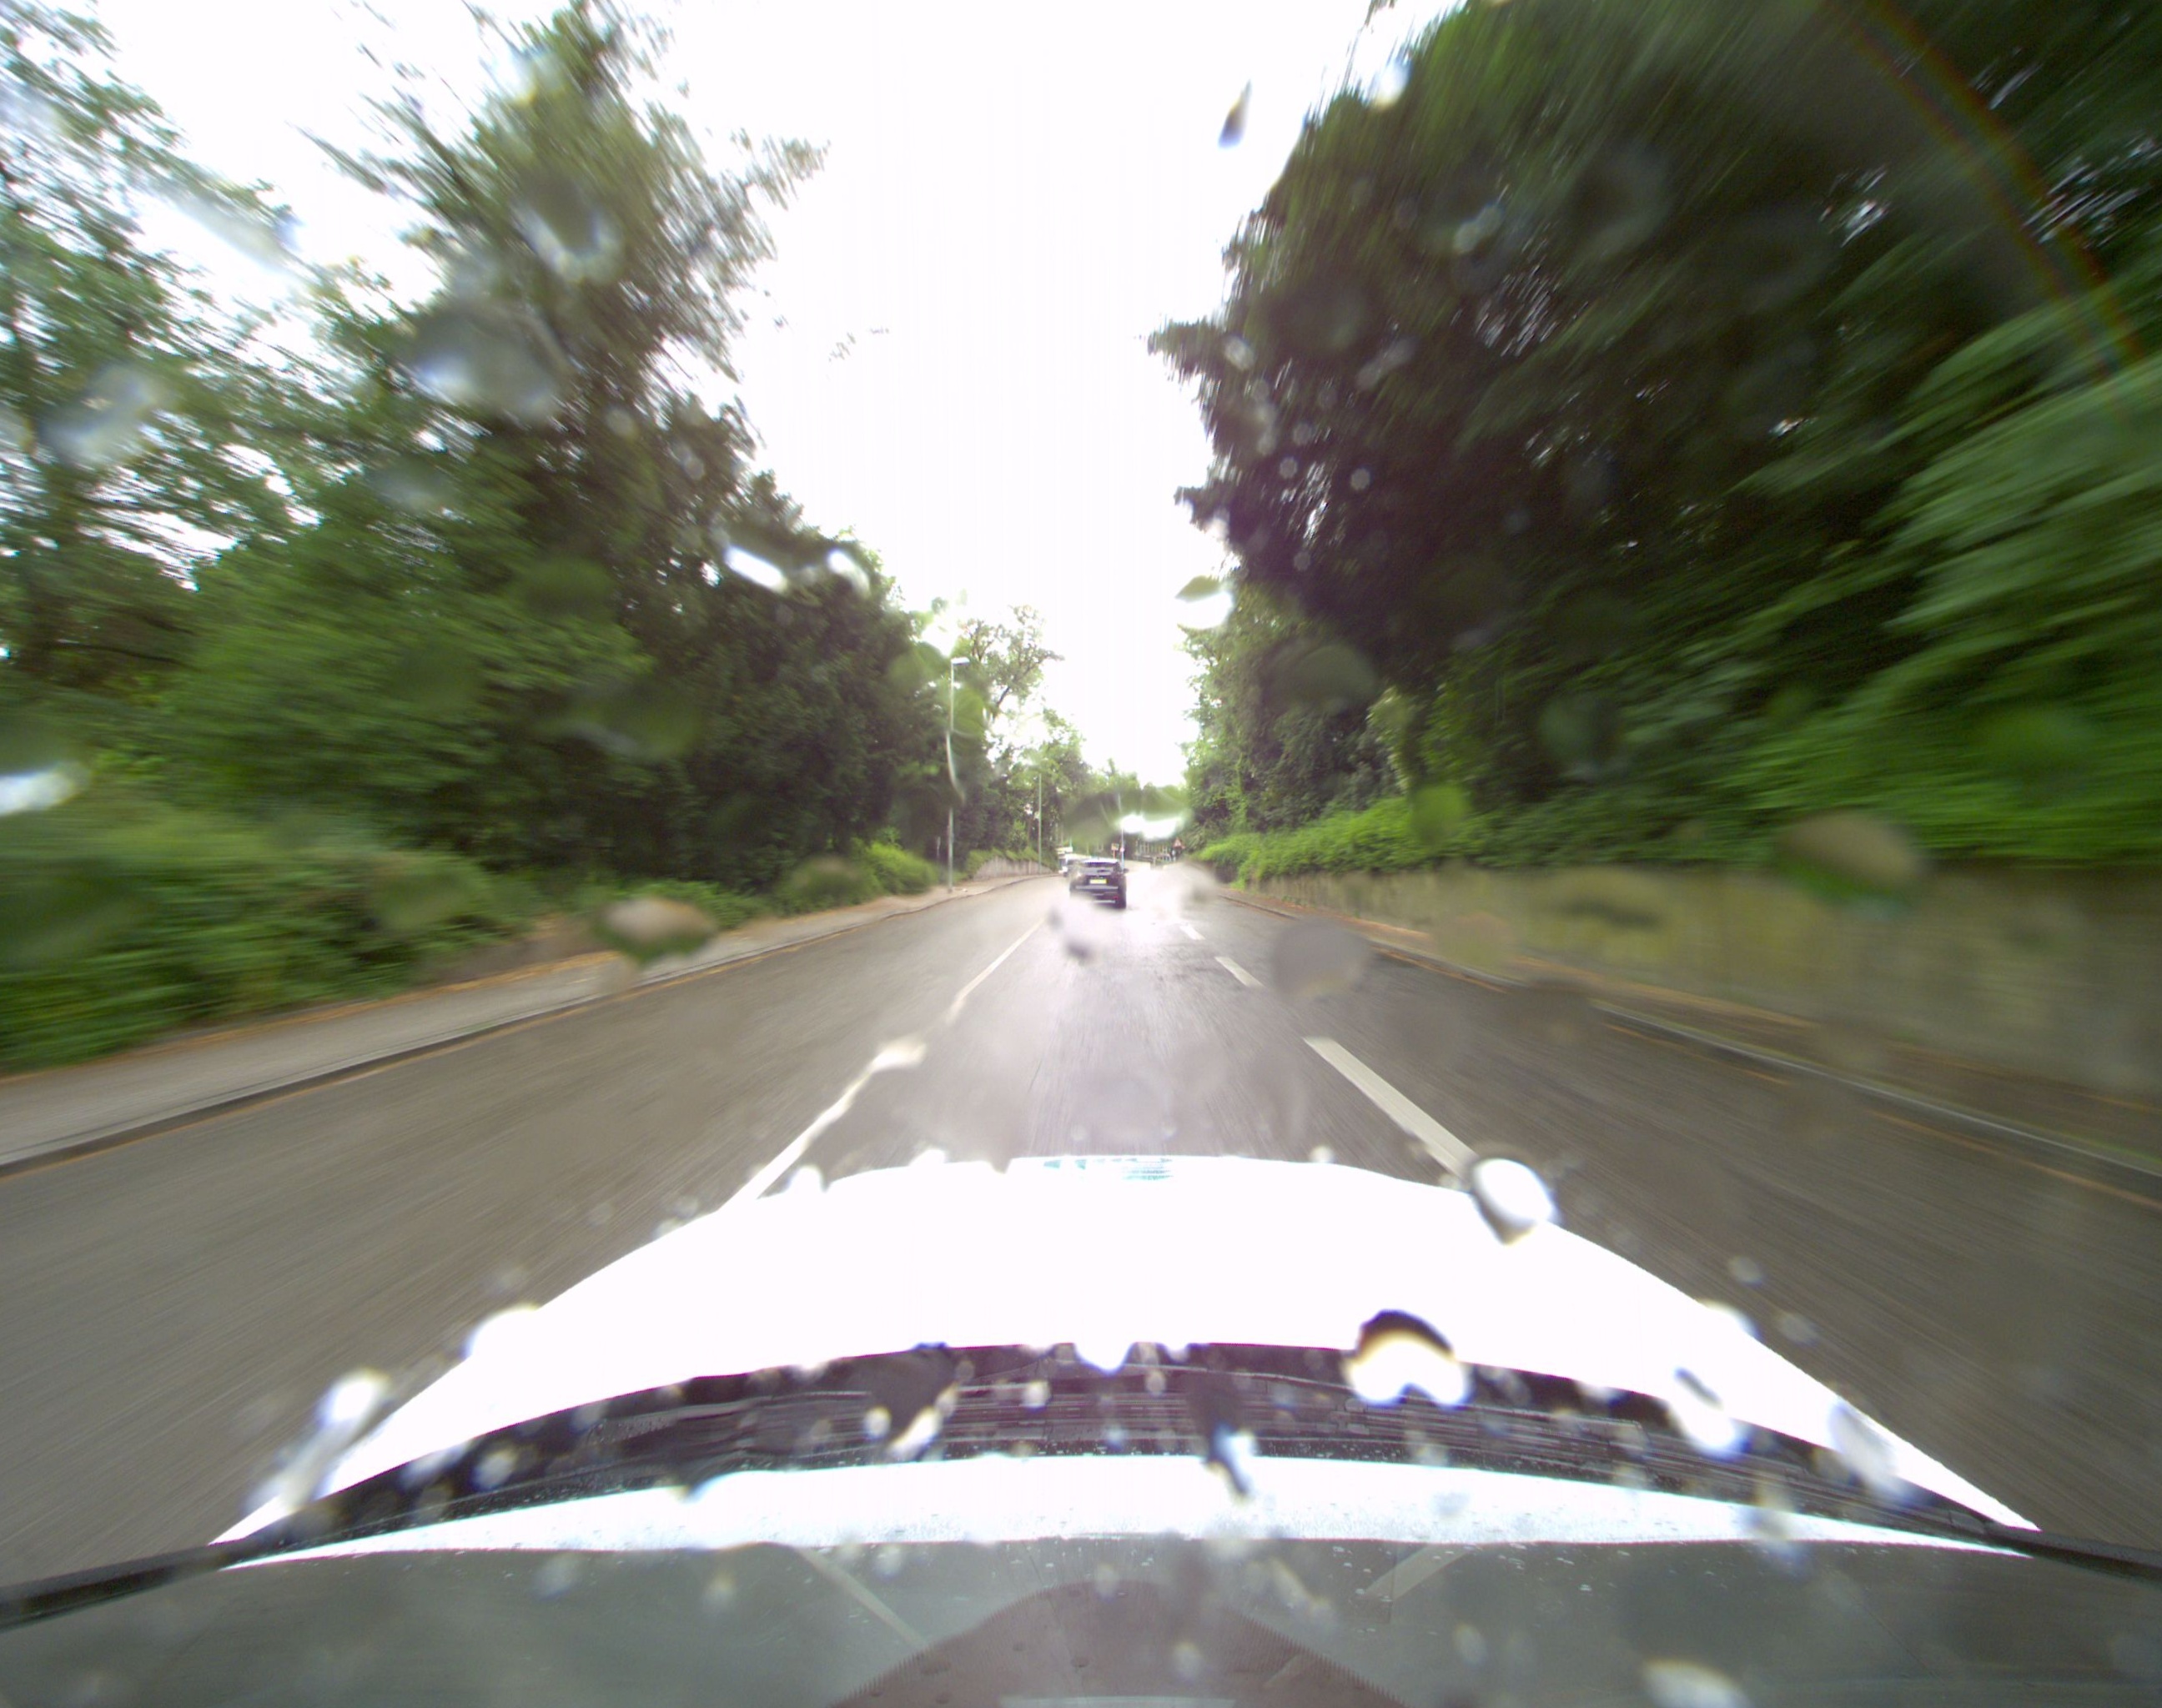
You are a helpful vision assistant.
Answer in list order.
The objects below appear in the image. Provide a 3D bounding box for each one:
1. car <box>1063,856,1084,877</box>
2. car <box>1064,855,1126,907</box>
[{"bbox_3d":[-0.639,1.080,71.256,1.824,1.711,4.000,0,-1,0],"label":"car"},{"bbox_3d":[0.498,0.851,27.410,1.921,1.613,4.001,-1,0,2],"label":"car"}]
